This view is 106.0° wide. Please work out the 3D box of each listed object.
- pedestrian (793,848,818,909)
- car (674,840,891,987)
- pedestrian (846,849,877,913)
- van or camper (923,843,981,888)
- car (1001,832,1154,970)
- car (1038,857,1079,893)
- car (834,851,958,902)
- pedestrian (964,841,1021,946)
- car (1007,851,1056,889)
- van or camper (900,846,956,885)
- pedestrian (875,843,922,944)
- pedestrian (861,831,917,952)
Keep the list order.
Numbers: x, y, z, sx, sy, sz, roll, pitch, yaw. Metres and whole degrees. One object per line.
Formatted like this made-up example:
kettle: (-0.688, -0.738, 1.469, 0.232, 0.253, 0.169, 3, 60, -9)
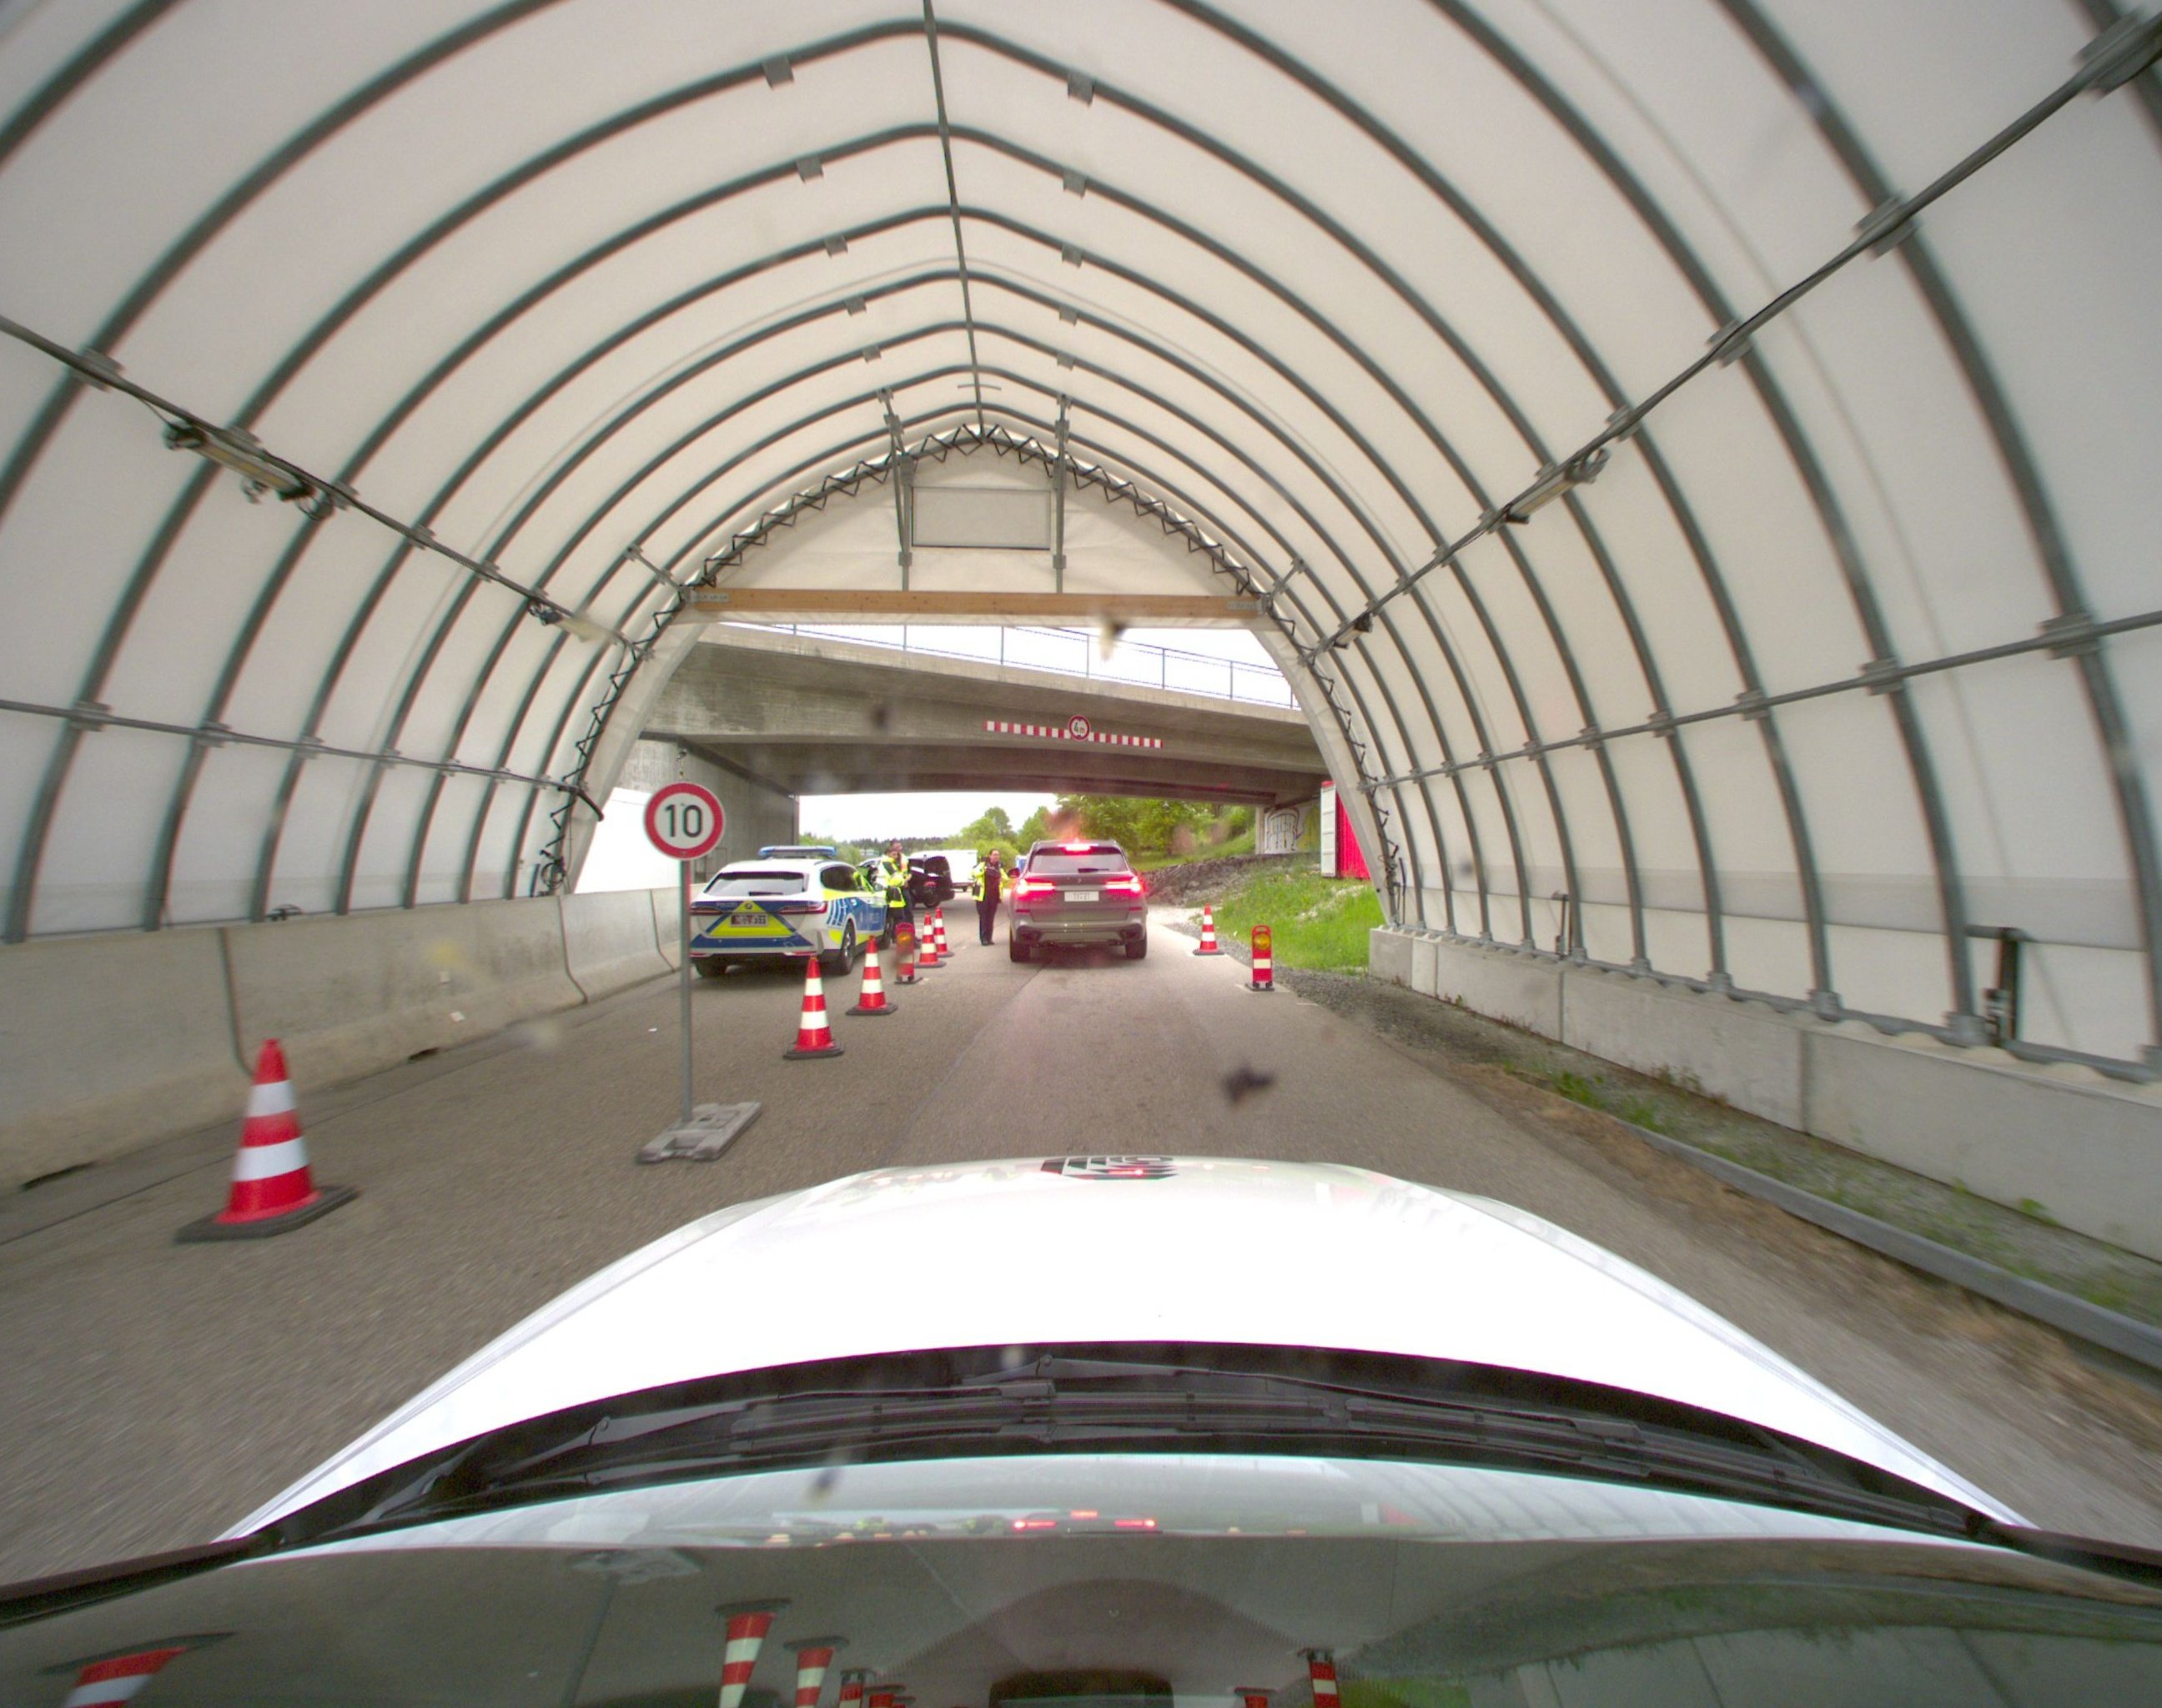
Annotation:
pedestrian: (-9.216, 0.816, 27.242, 0.624, 2.013, 0.654, -1, 0, -7)
car: (-3.935, 0.700, 11.497, 1.875, 1.646, 3.992, -2, 0, -6)
pedestrian: (-7.059, 0.848, 26.158, 0.686, 2.014, 0.705, -2, -1, 8)
van or camper: (-8.218, 0.720, 51.254, 2.238, 2.552, 6.564, -2, 0, -21)
car: (-0.047, 0.633, 12.852, 1.987, 1.765, 3.999, -2, 0, 0)
car: (-1.243, 1.080, 43.104, 1.990, 1.722, 3.891, -2, 0, -4)
car: (-7.810, 0.936, 34.507, 4.769, 2.014, 1.849, -2, 0, 16)
pedestrian: (-1.537, 0.660, 14.049, 0.782, 1.722, 0.751, -2, -1, -21)
car: (-3.255, 1.023, 53.006, 2.001, 2.346, 3.970, -1, 0, -22)
van or camper: (-10.797, 0.795, 57.105, 2.117, 2.519, 5.496, -1, 0, -31)
pedestrian: (-3.279, 0.691, 14.641, 0.606, 1.754, 0.666, -2, -1, 3)
pedestrian: (-3.182, 0.605, 13.558, 0.748, 1.919, 0.761, -2, -1, -6)
